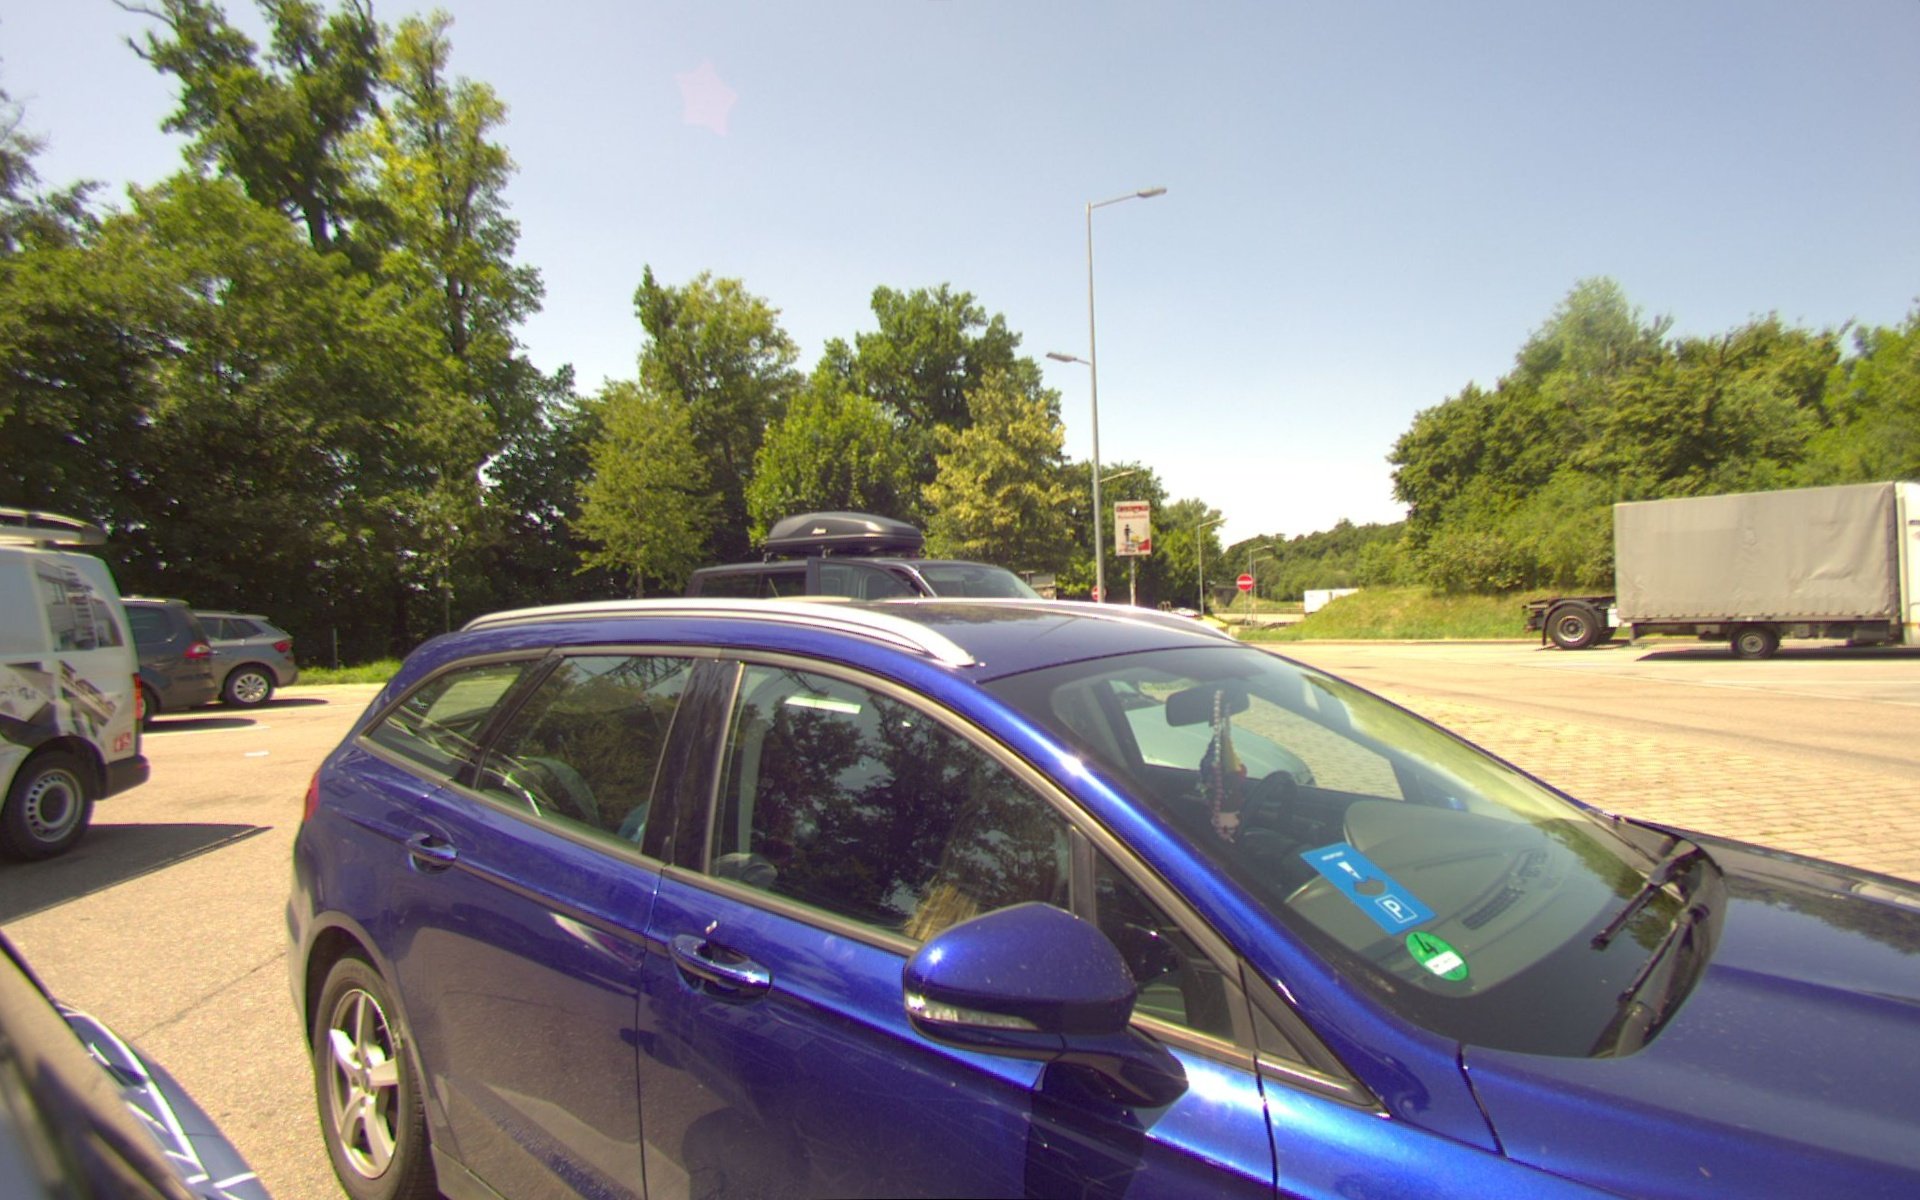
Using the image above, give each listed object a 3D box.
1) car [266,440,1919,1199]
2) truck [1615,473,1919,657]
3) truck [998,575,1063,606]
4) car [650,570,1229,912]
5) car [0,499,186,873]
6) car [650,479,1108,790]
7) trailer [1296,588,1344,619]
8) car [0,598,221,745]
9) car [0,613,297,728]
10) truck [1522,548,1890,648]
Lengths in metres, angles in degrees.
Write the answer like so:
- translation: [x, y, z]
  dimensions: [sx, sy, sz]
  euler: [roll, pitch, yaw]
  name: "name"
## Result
- translation: [0.277, 0.641, 2.032]
  dimensions: [4.411, 1.429, 1.721]
  euler: [-2, -1, 41]
  name: "car"
- translation: [16.657, -0.592, 18.784]
  dimensions: [7.253, 3.175, 2.148]
  euler: [-2, -1, 41]
  name: "truck"
- translation: [3.396, -0.451, 48.833]
  dimensions: [2.866, 1.386, 1.158]
  euler: [-2, -1, 22]
  name: "truck"
- translation: [-0.267, 0.602, 5.601]
  dimensions: [3.112, 1.370, 1.326]
  euler: [-2, -1, 41]
  name: "car"
- translation: [-6.249, 0.469, 4.499]
  dimensions: [1.816, 2.121, 5.440]
  euler: [0, -1, -5]
  name: "car"
- translation: [-0.872, 0.317, 9.512]
  dimensions: [4.076, 2.336, 1.767]
  euler: [-2, -1, 35]
  name: "car"
- translation: [49.638, 0.564, 139.784]
  dimensions: [2.543, 3.981, 8.719]
  euler: [-1, -1, -7]
  name: "trailer"
- translation: [-11.636, 0.851, 12.525]
  dimensions: [1.755, 1.701, 3.798]
  euler: [-2, -1, 45]
  name: "car"
- translation: [-12.551, 0.993, 15.713]
  dimensions: [3.536, 1.513, 1.708]
  euler: [-1, 0, -43]
  name: "car"
- translation: [17.011, 0.053, 23.509]
  dimensions: [6.613, 2.029, 1.973]
  euler: [-2, -1, 41]
  name: "truck"
